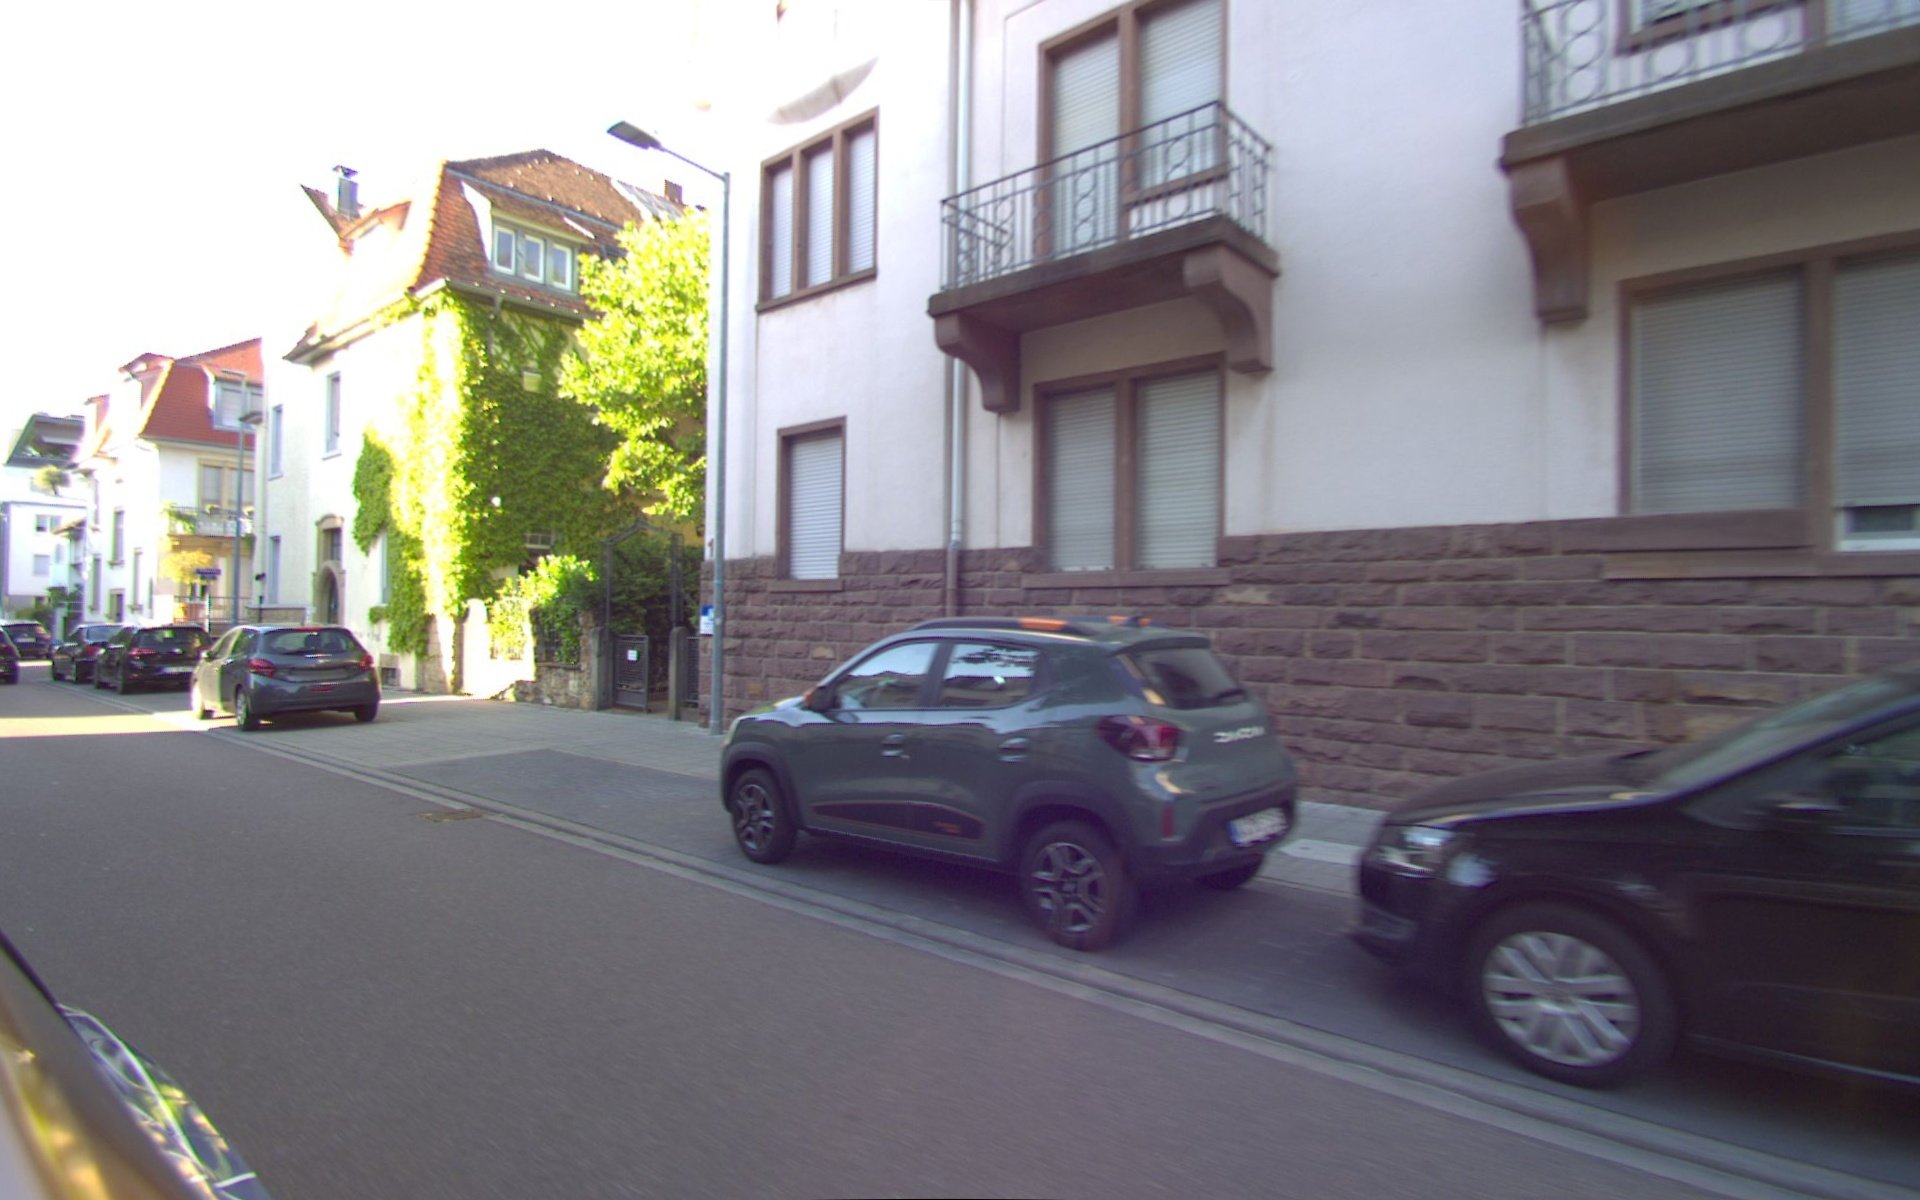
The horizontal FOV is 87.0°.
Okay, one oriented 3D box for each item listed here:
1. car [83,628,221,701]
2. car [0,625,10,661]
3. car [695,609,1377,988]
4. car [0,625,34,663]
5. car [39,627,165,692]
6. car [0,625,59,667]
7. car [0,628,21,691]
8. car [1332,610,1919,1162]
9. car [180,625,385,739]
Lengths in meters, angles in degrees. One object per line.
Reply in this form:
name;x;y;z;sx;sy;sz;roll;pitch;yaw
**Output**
car;-17.652;1.332;22.048;4.165;1.426;1.636;-1;-1;41
car;-43.110;1.876;44.495;3.703;1.532;1.565;-1;-1;40
car;0.221;0.824;5.905;3.763;1.497;1.636;-1;-1;42
car;-39.479;1.776;41.529;3.701;1.488;1.566;-1;-1;38
car;-21.734;1.429;25.574;4.629;1.481;1.692;-1;-1;40
car;-35.292;1.699;38.024;4.629;1.465;1.636;-1;-1;42
car;-24.366;1.412;24.643;3.998;1.460;1.753;-2;-3;41
car;3.353;0.760;3.091;3.840;1.458;1.637;-1;-1;39
car;-10.252;1.122;15.210;4.004;1.458;1.636;-1;-1;42
